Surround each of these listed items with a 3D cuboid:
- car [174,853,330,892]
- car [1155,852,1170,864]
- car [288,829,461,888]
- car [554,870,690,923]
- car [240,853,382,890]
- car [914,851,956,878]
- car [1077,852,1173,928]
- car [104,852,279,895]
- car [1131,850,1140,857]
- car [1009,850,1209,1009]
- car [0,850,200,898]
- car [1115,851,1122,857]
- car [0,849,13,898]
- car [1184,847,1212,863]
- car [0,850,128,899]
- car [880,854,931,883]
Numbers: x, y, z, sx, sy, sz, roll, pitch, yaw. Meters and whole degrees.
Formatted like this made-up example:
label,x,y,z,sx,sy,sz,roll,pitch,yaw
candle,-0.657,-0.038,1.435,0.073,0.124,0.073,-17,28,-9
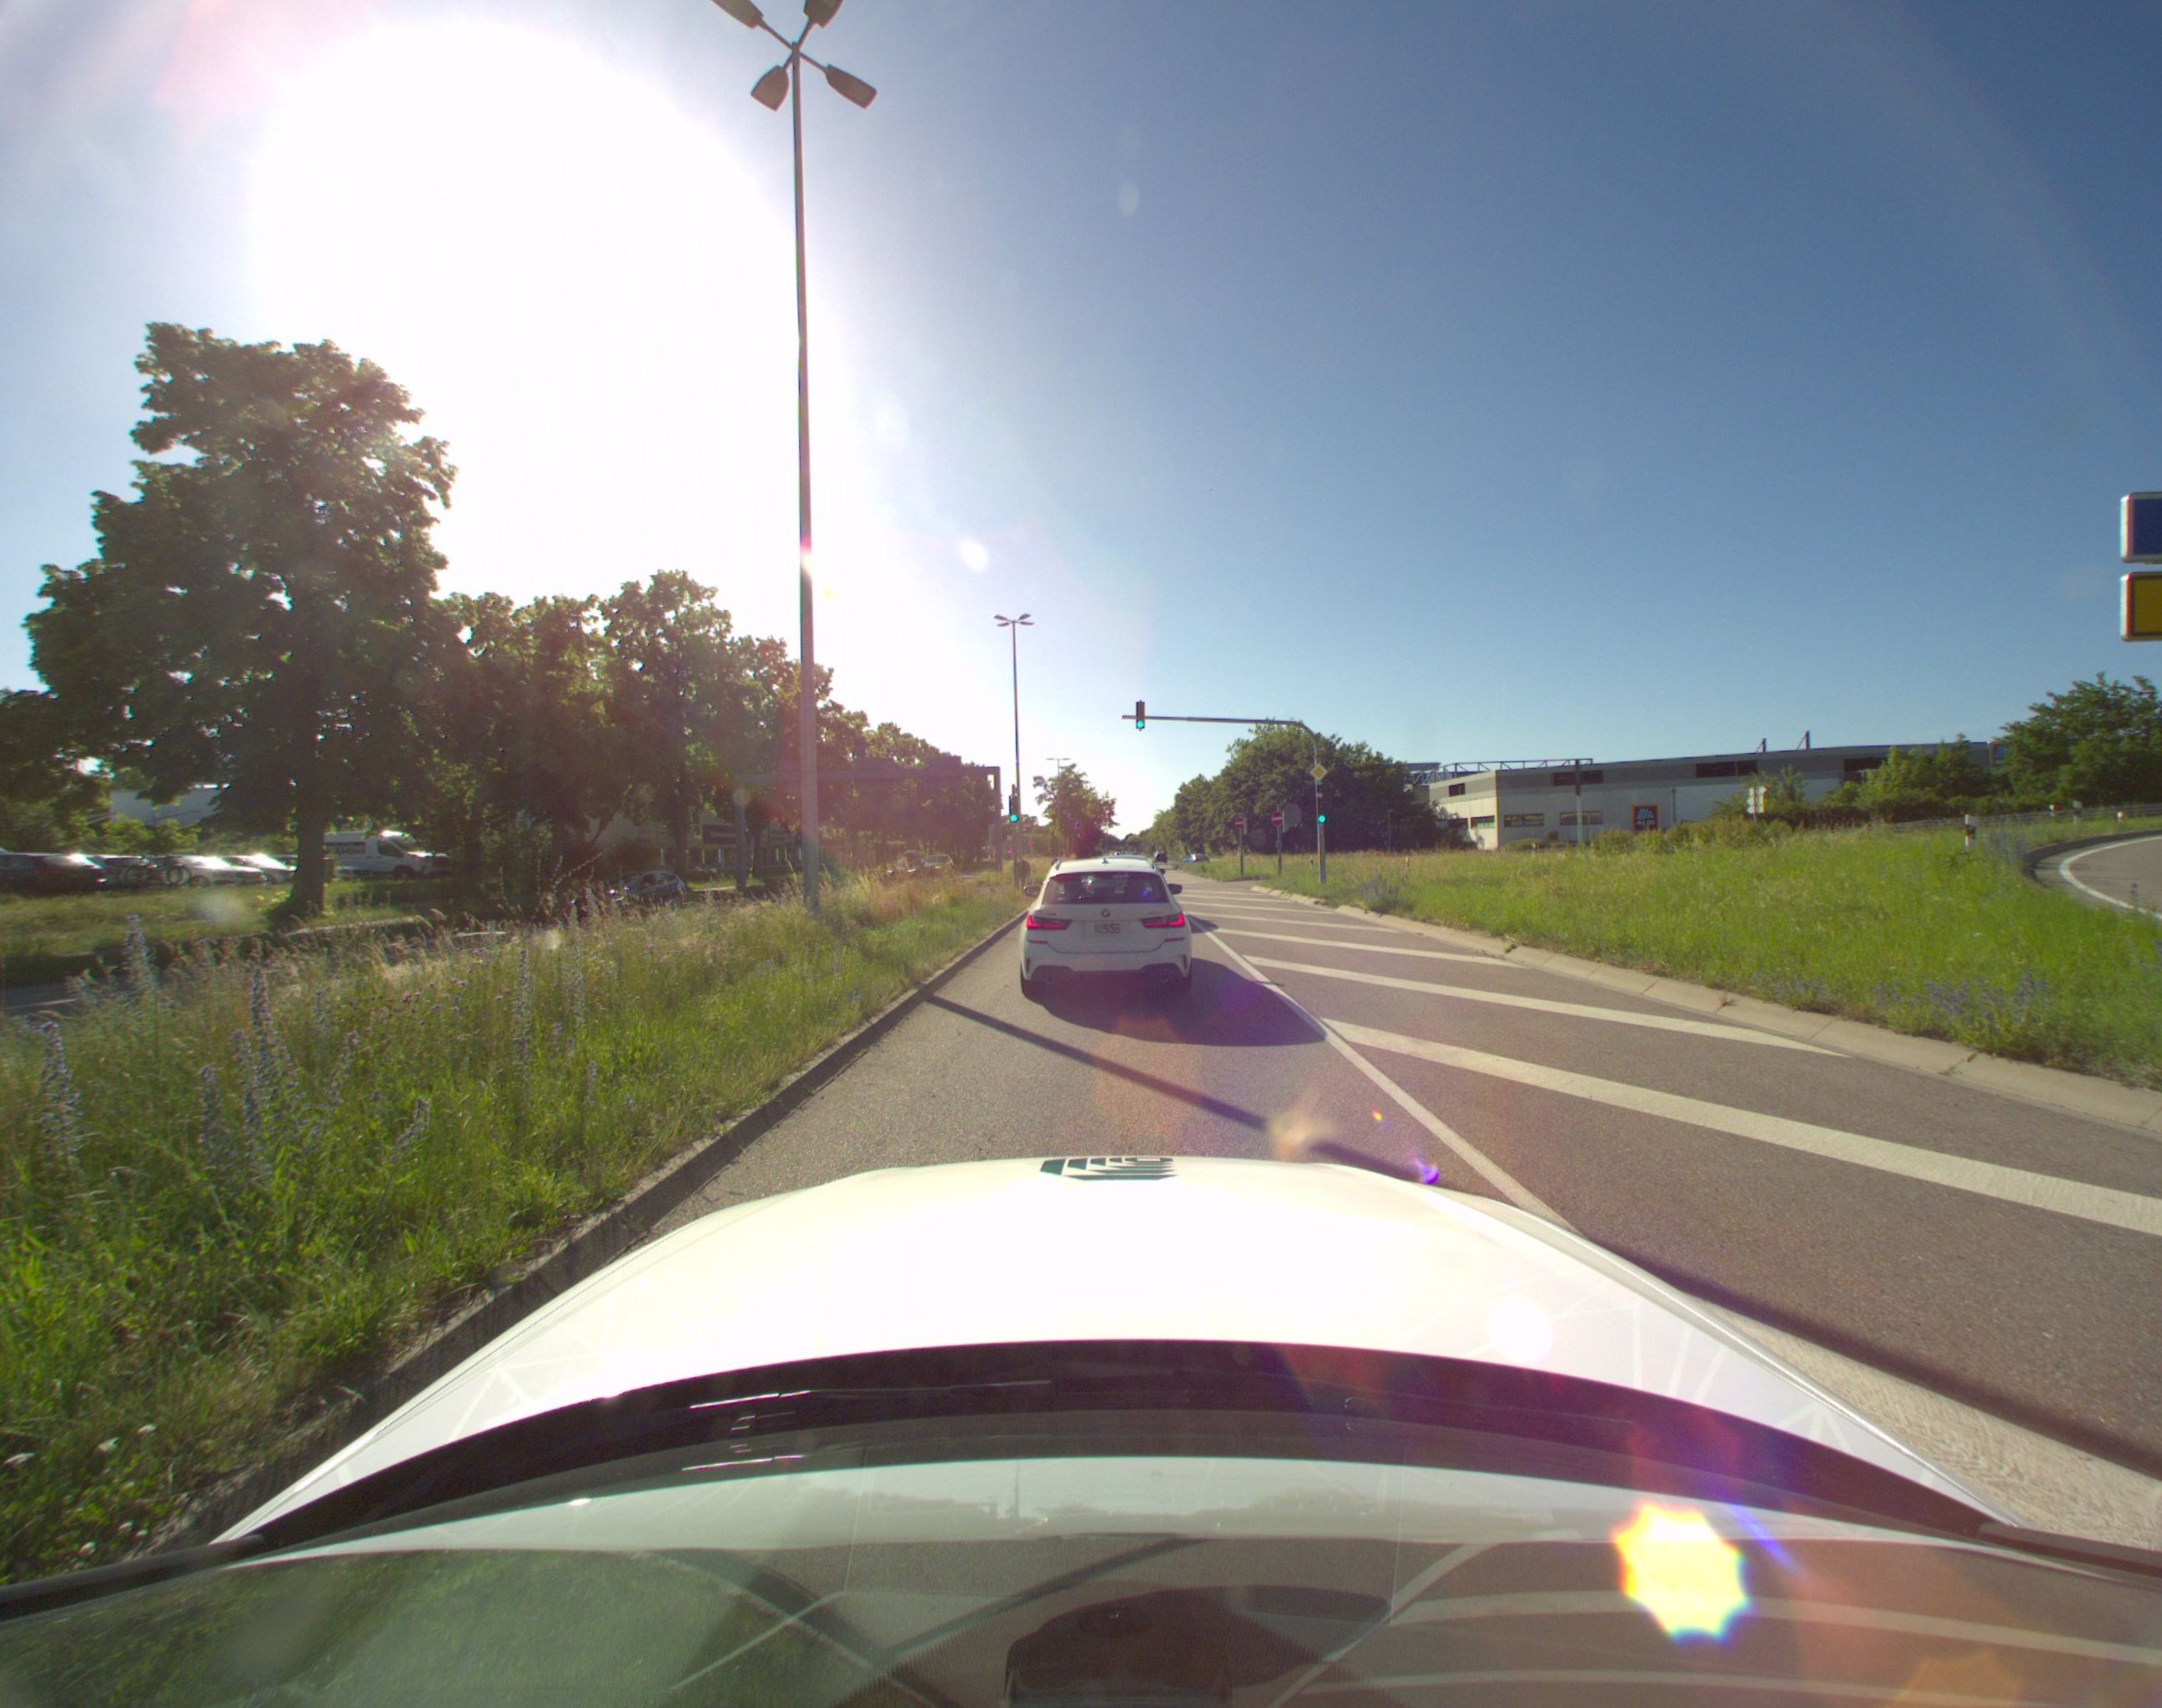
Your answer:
label,x,y,z,sx,sy,sz,roll,pitch,yaw
car,-32.872,0.705,32.389,4.107,1.388,1.945,-2,0,-2
car,11.369,0.551,113.747,1.765,1.555,3.833,-2,0,1
car,-32.487,0.197,37.592,5.861,2.433,2.205,-2,0,-2
car,-14.889,1.321,26.745,1.773,1.425,4.384,-3,0,2
car,-33.005,0.724,35.005,4.107,1.388,1.945,-2,0,-2
car,-10.416,0.708,58.355,1.935,1.697,4.632,-3,0,2
car,0.953,0.712,18.433,1.854,1.455,4.550,-2,0,2
car,-32.469,0.684,29.824,4.107,1.388,1.945,-2,0,-2
car,12.151,-0.081,182.020,1.854,1.565,4.550,-2,0,2
car,0.370,0.708,10.028,1.854,1.455,4.550,-2,0,2
car,-32.592,0.652,27.040,4.601,1.388,1.948,-2,0,2
car,10.336,-0.025,225.624,1.854,1.565,4.550,-2,0,2
car,-32.801,0.628,22.455,4.104,1.388,1.947,-2,0,1
car,11.812,0.098,82.447,1.859,1.499,4.327,-1,0,-6
car,-32.239,0.640,24.740,4.107,1.388,1.945,-2,0,-2
car,-10.623,0.846,49.739,1.869,1.542,4.575,-3,0,2
